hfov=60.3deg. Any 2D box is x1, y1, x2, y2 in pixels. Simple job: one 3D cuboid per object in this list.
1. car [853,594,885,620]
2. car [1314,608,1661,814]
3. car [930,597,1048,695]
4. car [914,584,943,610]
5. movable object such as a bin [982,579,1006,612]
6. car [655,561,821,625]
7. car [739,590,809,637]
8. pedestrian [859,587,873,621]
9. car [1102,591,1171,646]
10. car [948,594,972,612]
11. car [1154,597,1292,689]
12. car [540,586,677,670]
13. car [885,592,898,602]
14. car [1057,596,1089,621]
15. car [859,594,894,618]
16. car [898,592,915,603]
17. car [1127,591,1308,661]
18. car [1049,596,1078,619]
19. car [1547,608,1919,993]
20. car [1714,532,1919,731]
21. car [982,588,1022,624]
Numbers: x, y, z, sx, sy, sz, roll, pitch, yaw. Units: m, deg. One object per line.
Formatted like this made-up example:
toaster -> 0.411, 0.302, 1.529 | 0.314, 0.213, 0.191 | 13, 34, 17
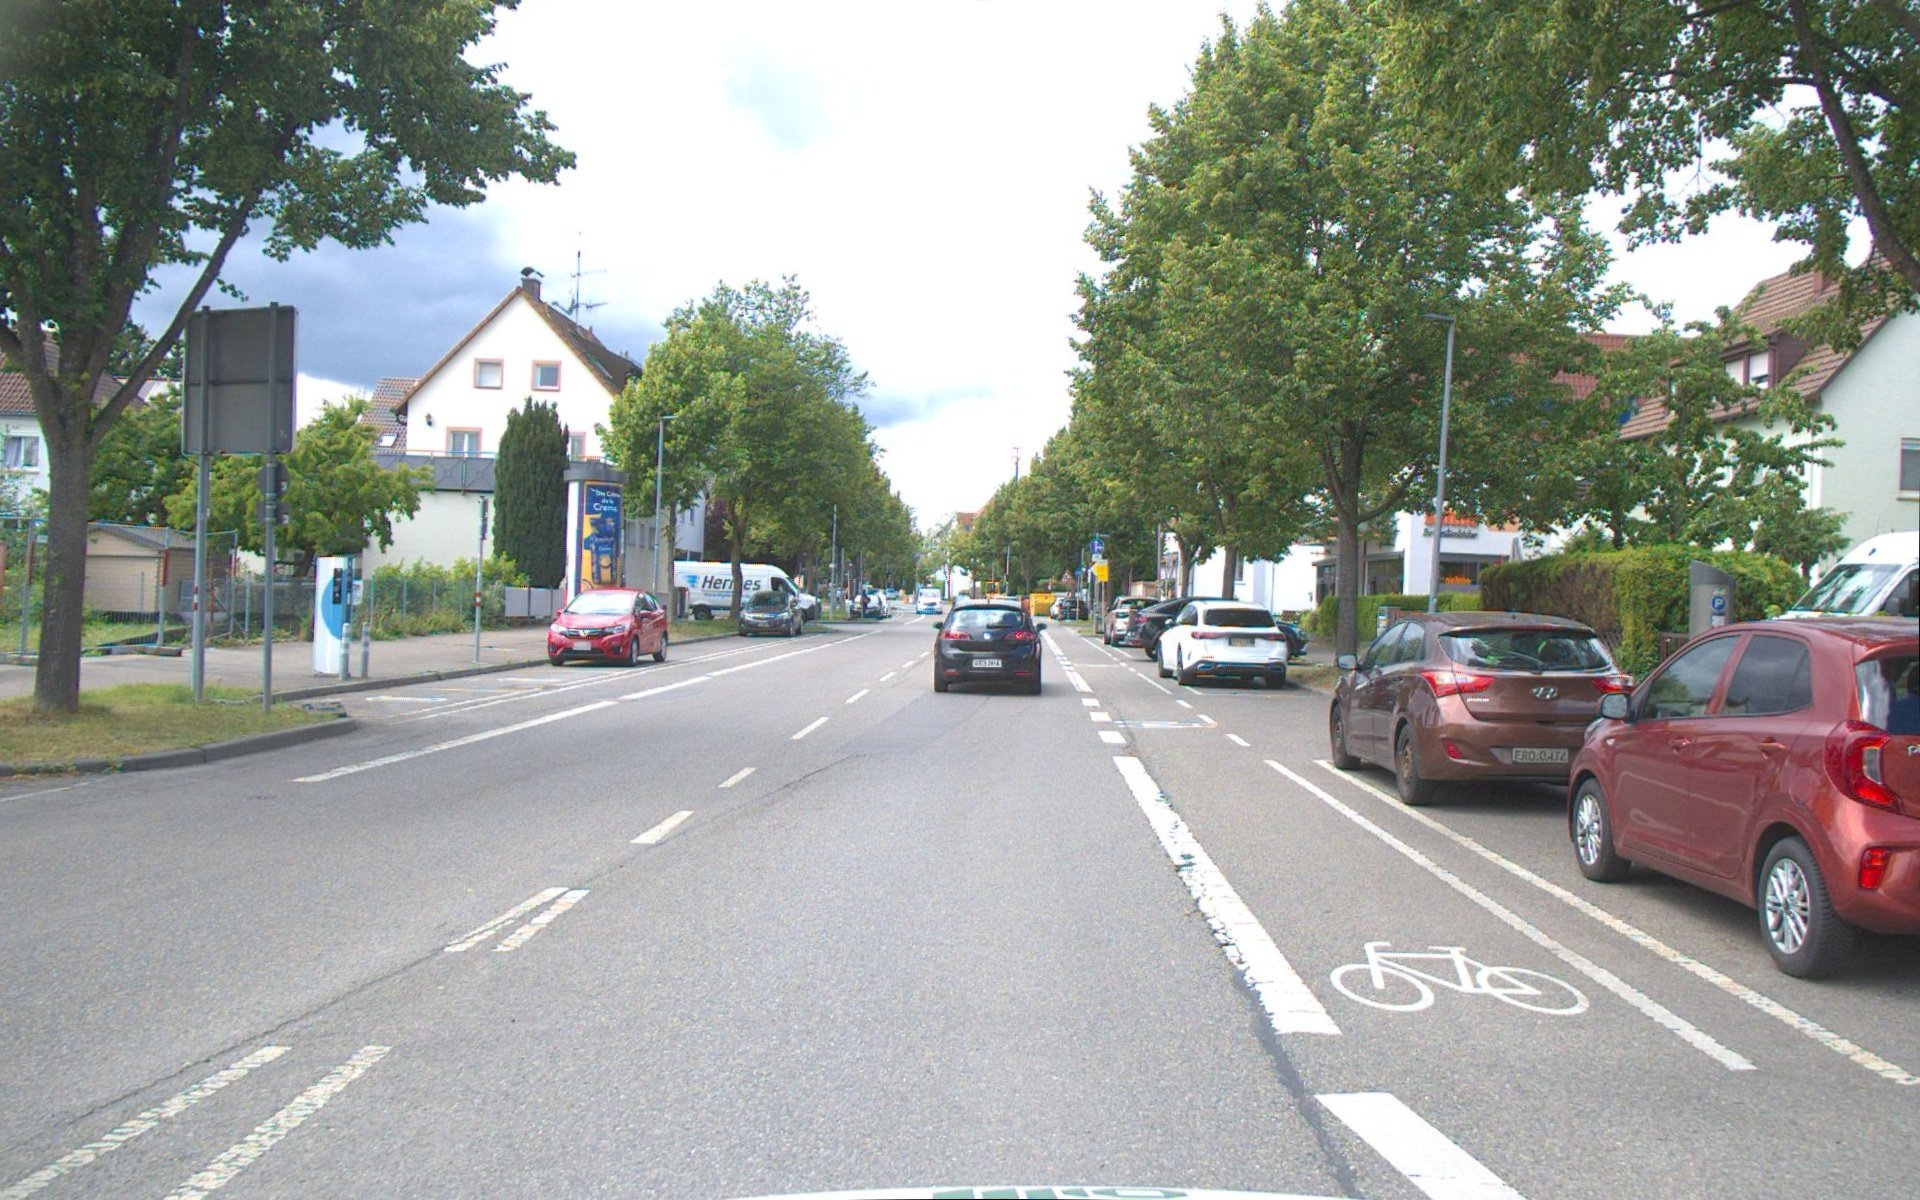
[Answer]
car -> -5.158, 0.386, 94.118 | 1.609, 1.445, 4.020 | 0, 0, 0
car -> 4.258, 0.815, 14.030 | 1.619, 1.440, 4.177 | 0, 0, 0
car -> 0.417, 0.699, 27.047 | 1.782, 1.463, 3.739 | 1, 0, -1
car -> -2.381, -0.229, 124.764 | 1.925, 1.862, 4.820 | 1, 0, 1
movable object such as a bin -> 2.753, -0.390, 133.965 | 1.732, 2.619, 3.739 | 1, 0, -1
car -> -9.883, -0.319, 74.125 | 7.142, 2.640, 2.219 | 1, 0, -2
car -> -6.287, 0.432, 56.322 | 1.695, 1.494, 4.303 | 1, 0, 3
pedestrian -> -4.886, 0.188, 86.026 | 0.531, 1.710, 0.751 | 3, 1, 10
car -> 5.551, 0.553, 52.367 | 1.687, 1.608, 4.060 | 1, 0, -1
car -> -0.026, 0.252, 134.628 | 1.774, 1.399, 3.691 | 1, 0, -3
car -> 4.740, 0.725, 30.442 | 1.768, 1.500, 4.812 | 1, 0, 0
car -> -7.087, 0.522, 33.749 | 1.650, 1.568, 4.134 | 1, 0, 3
car -> -10.660, -0.451, 256.851 | 1.774, 1.440, 3.690 | 1, 0, -4
car -> 6.945, 0.510, 101.611 | 1.670, 1.480, 4.616 | 1, 0, 0
car -> -5.054, 0.350, 100.769 | 1.678, 1.431, 4.302 | 1, 0, 3
car -> -6.981, -0.340, 215.343 | 1.777, 1.440, 3.684 | 1, 0, -10
car -> 6.287, 0.624, 40.582 | 4.133, 1.666, 1.692 | 0, 0, -4
car -> 6.949, 0.496, 111.426 | 1.638, 1.488, 3.999 | 1, 0, -1
car -> 4.312, 0.815, 8.234 | 1.533, 1.481, 3.669 | 1, -1, 1
car -> 13.895, 0.455, 23.316 | 5.599, 2.637, 1.997 | 1, 1, -3
car -> 2.090, 0.297, 81.600 | 1.866, 1.715, 3.741 | 1, 0, 3
